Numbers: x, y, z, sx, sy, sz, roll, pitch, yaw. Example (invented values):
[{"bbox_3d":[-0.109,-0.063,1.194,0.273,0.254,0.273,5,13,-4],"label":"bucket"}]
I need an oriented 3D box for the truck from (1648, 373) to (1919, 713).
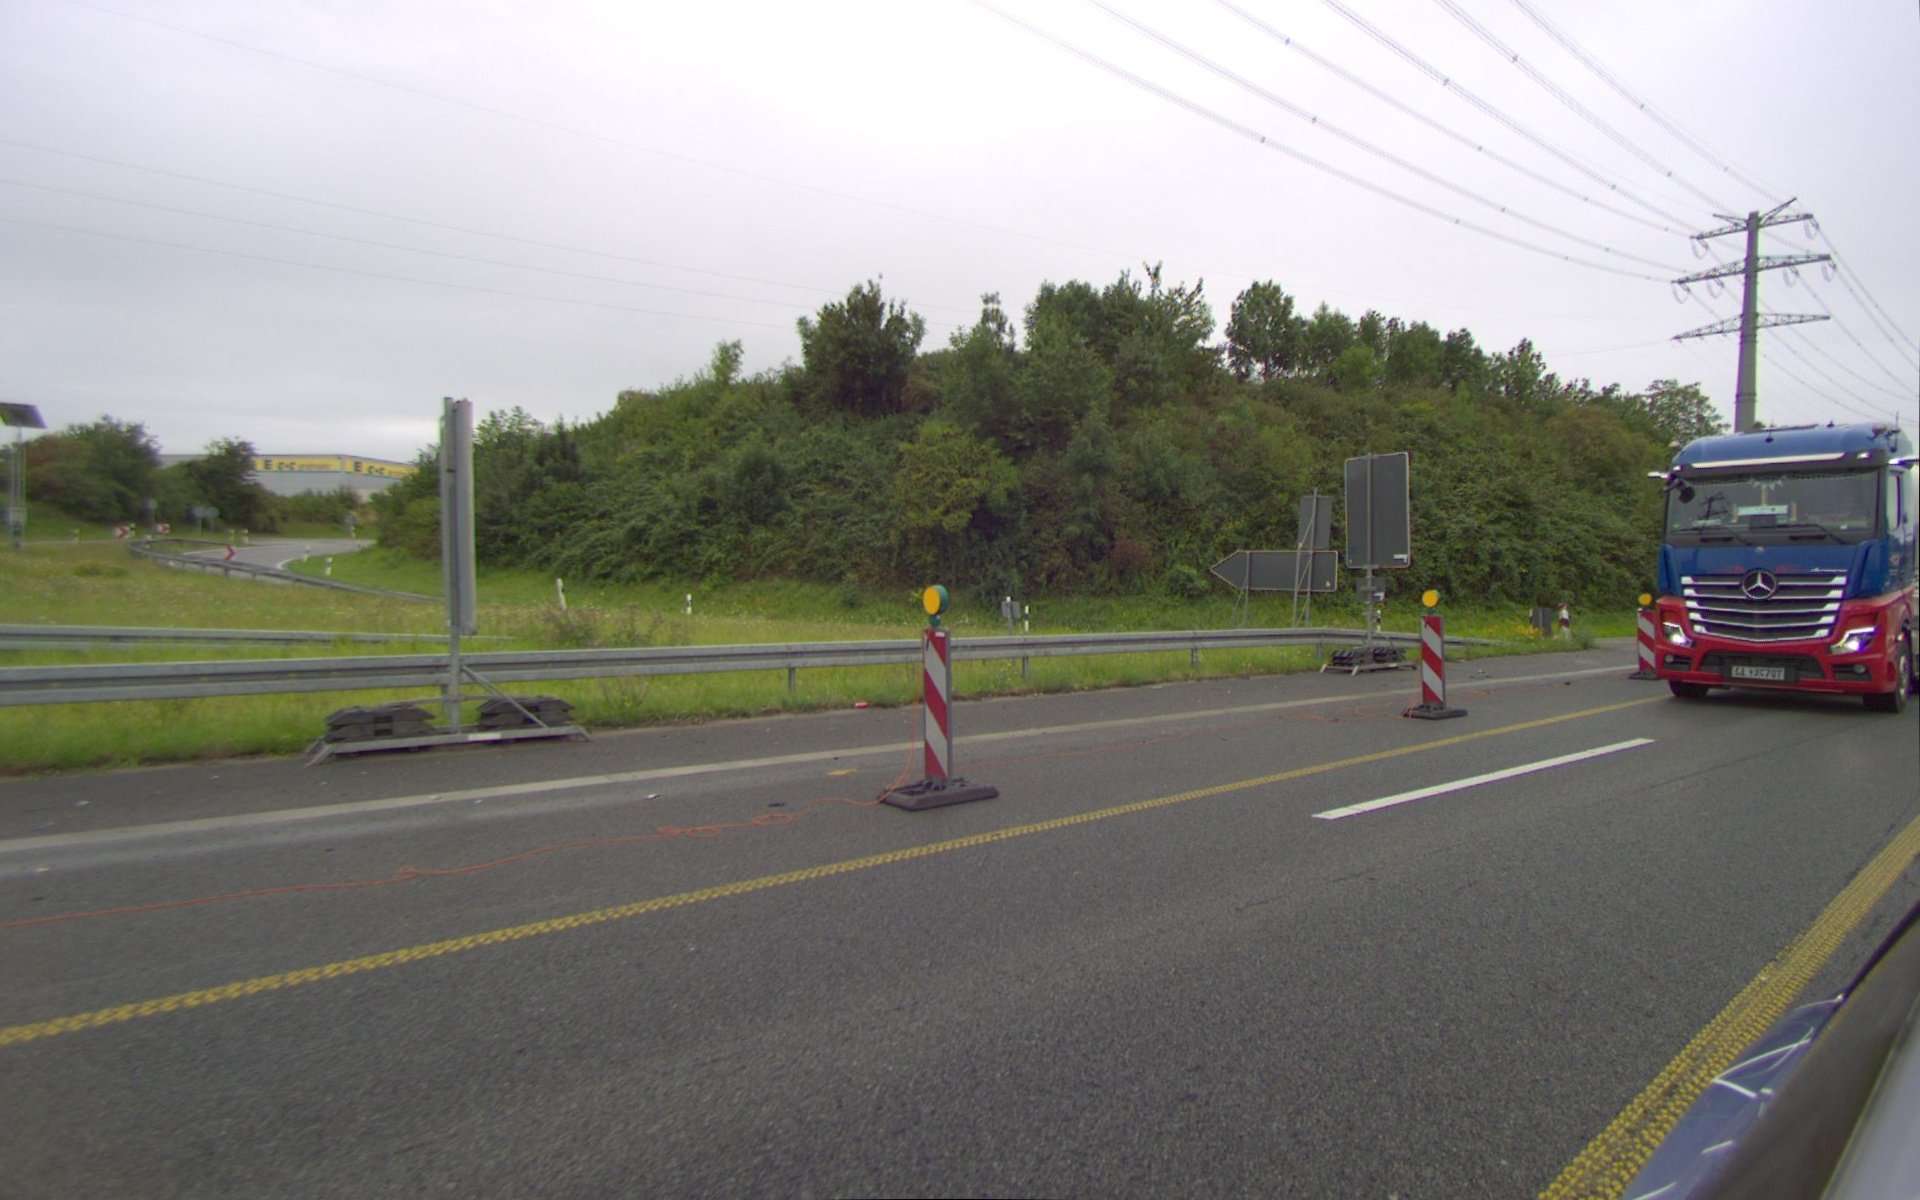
[{"bbox_3d":[11.803,-0.710,14.154,3.928,3.996,2.554,-1,1,-39],"label":"truck"}]

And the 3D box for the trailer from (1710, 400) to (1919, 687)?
[{"bbox_3d":[17.029,-0.874,18.403,12.130,3.882,2.525,-1,1,-39],"label":"trailer"}]
